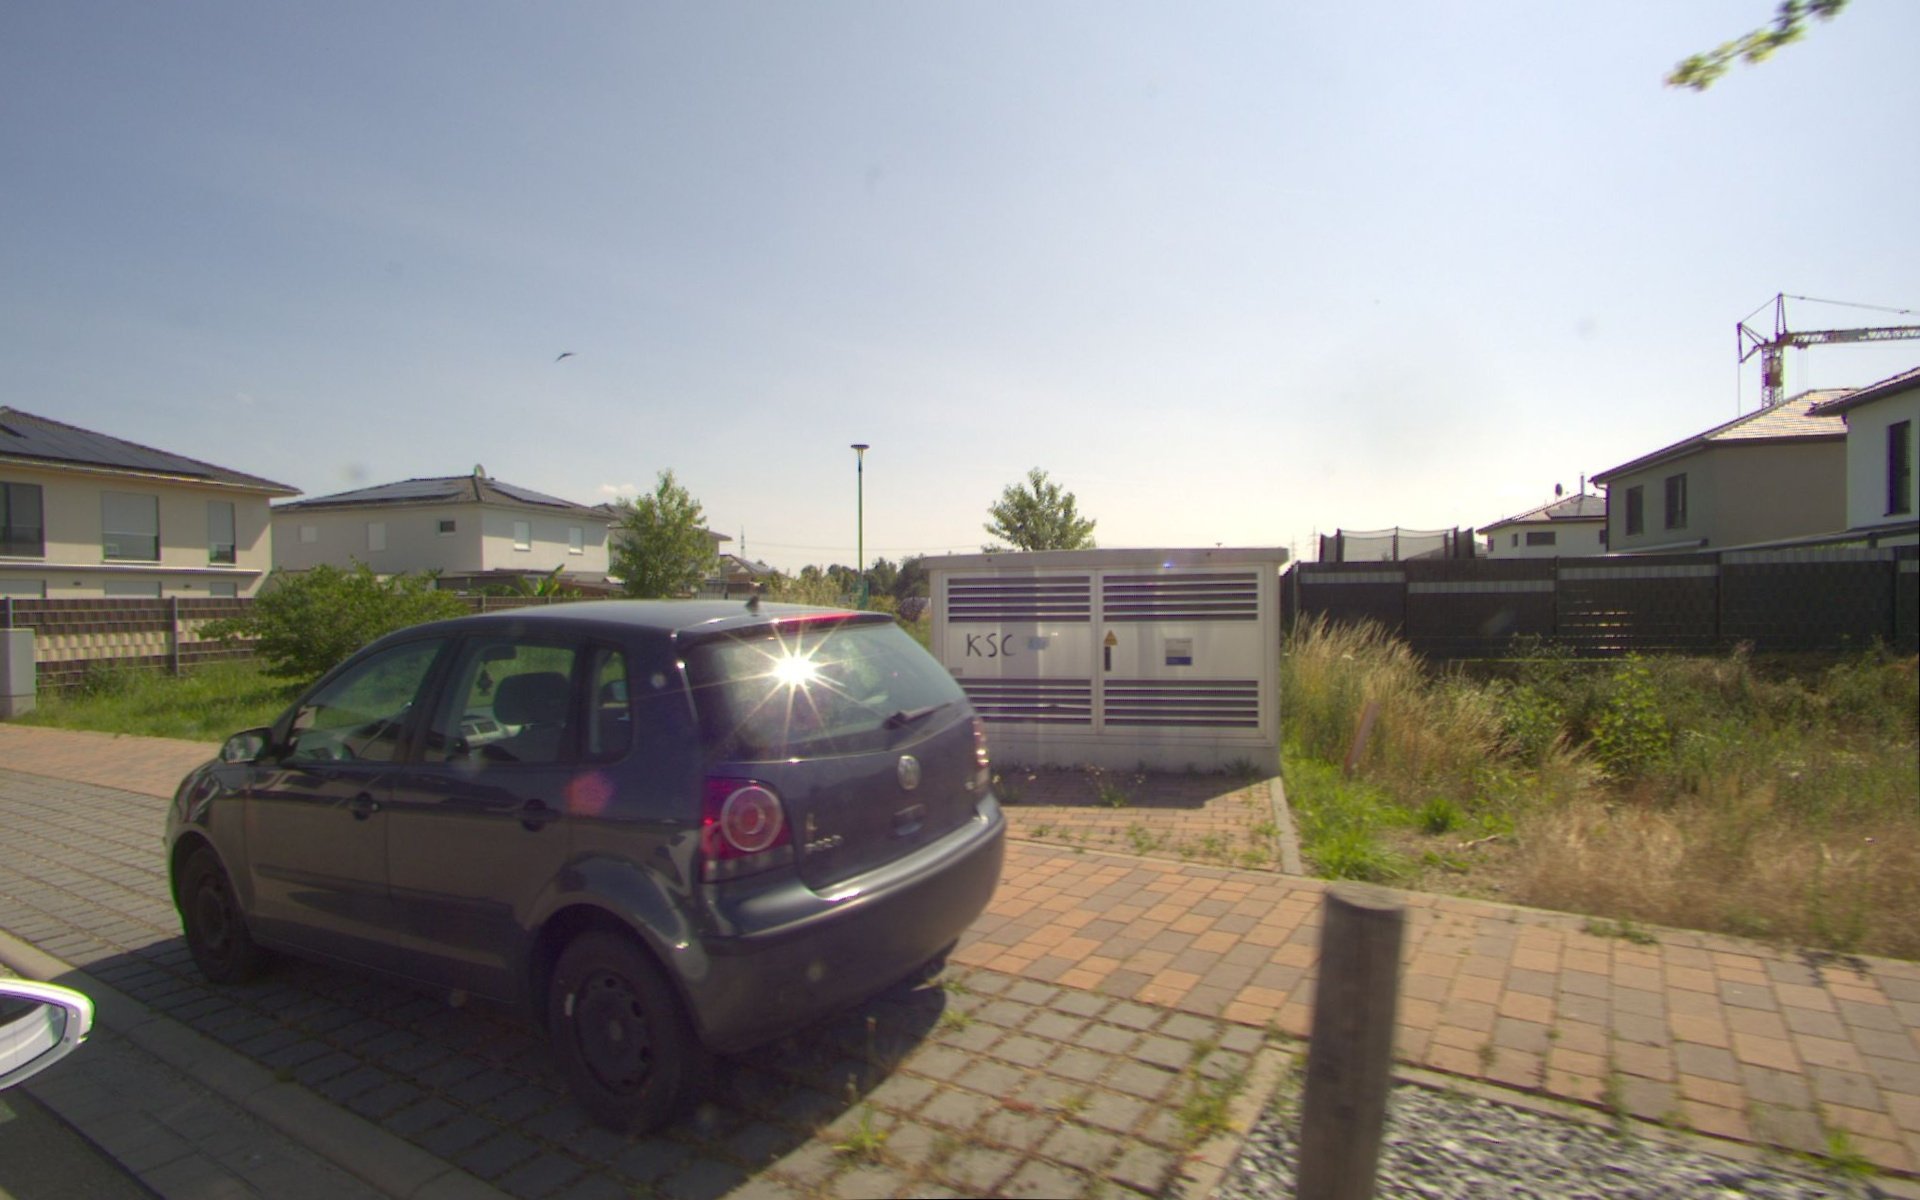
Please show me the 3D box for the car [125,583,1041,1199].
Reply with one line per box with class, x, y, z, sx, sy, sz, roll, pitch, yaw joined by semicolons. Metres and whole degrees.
car;-1.644;0.747;4.022;3.622;1.494;1.595;-1;-1;32
